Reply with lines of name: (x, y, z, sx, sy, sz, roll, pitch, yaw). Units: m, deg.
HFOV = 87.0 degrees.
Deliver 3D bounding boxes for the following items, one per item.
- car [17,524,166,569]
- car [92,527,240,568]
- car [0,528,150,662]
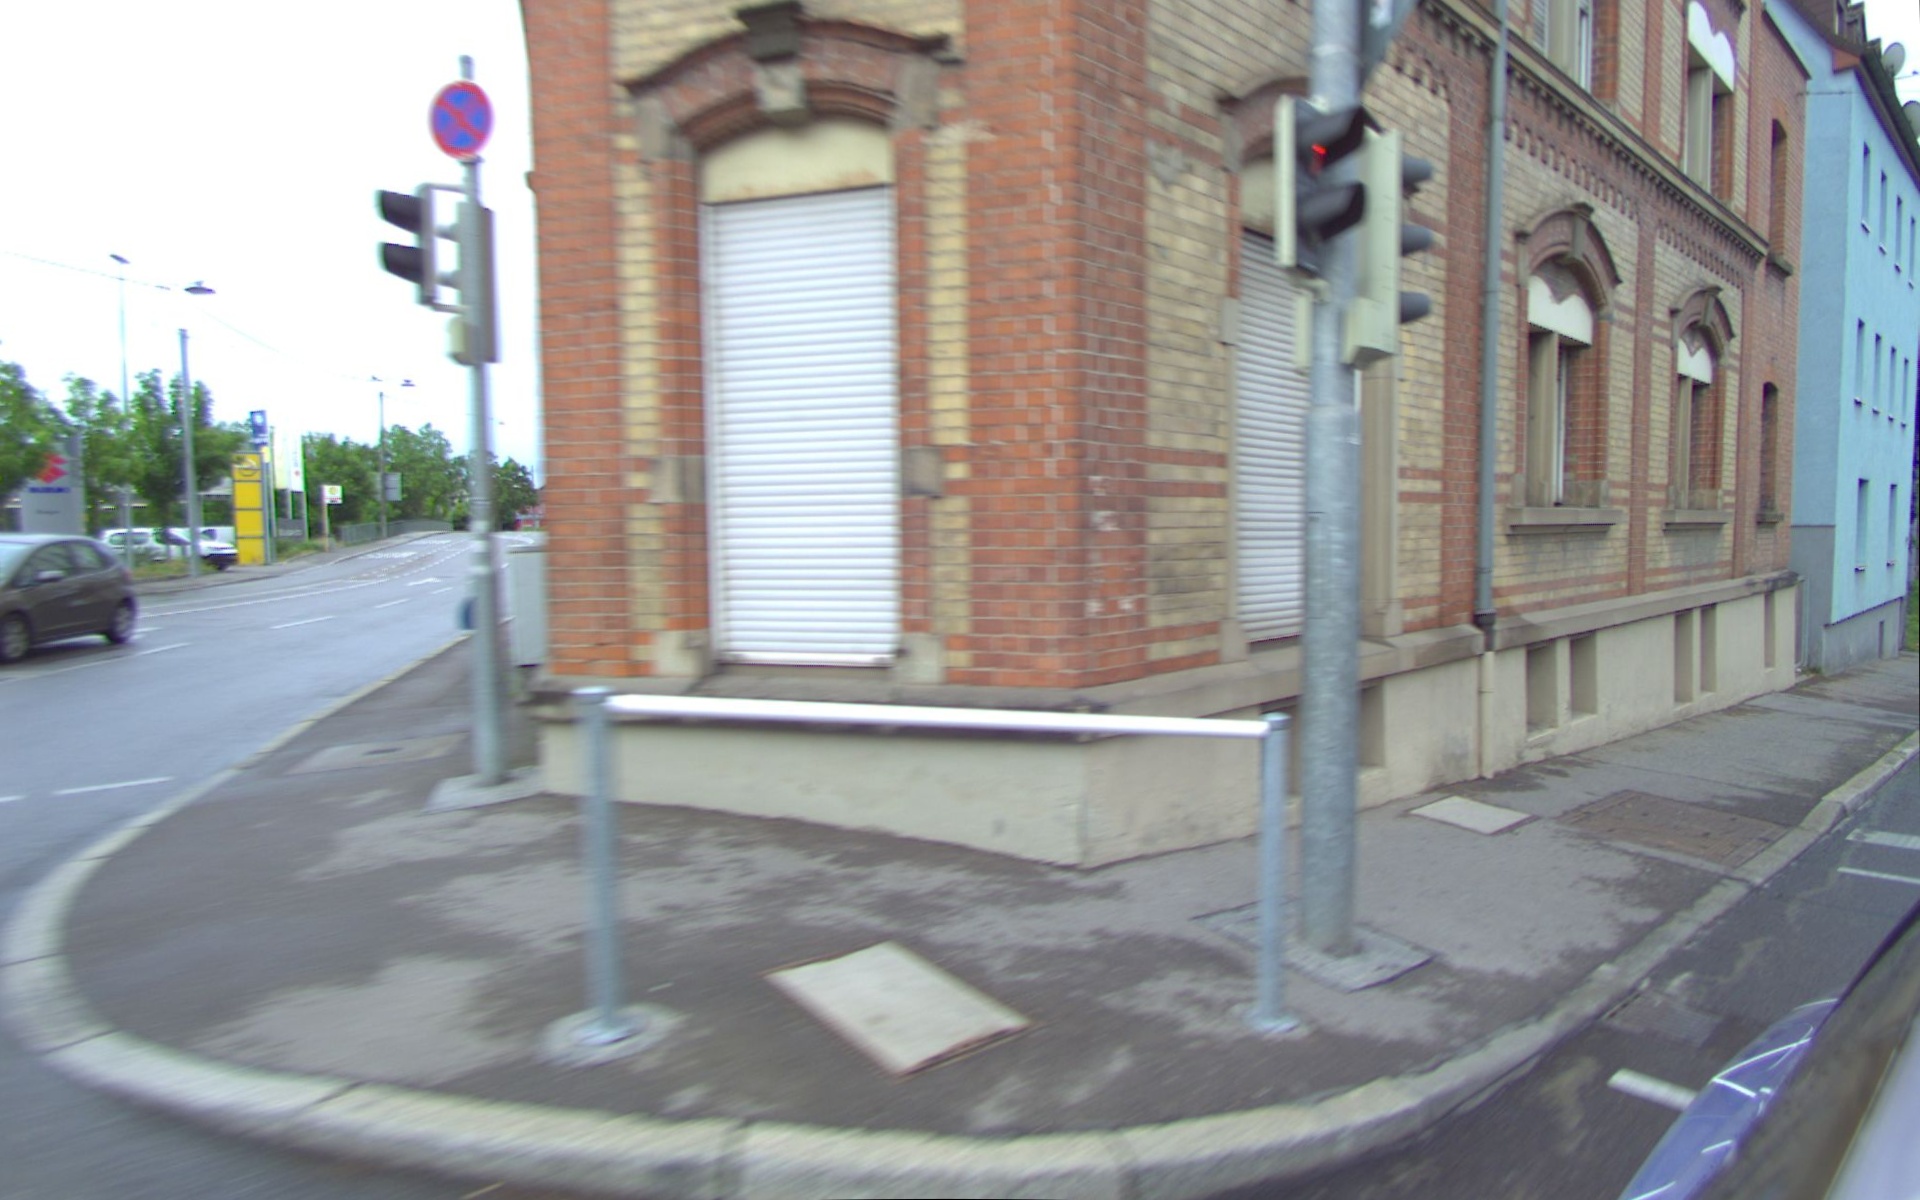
car: (-31.478, -1.933, 36.782, 3.733, 1.508, 1.728, 0, 3, -12)
car: (-31.294, -2.080, 40.003, 4.286, 1.508, 1.728, 0, 3, -12)
car: (-12.186, -0.161, 12.761, 1.805, 1.471, 4.011, 1, 3, -19)
